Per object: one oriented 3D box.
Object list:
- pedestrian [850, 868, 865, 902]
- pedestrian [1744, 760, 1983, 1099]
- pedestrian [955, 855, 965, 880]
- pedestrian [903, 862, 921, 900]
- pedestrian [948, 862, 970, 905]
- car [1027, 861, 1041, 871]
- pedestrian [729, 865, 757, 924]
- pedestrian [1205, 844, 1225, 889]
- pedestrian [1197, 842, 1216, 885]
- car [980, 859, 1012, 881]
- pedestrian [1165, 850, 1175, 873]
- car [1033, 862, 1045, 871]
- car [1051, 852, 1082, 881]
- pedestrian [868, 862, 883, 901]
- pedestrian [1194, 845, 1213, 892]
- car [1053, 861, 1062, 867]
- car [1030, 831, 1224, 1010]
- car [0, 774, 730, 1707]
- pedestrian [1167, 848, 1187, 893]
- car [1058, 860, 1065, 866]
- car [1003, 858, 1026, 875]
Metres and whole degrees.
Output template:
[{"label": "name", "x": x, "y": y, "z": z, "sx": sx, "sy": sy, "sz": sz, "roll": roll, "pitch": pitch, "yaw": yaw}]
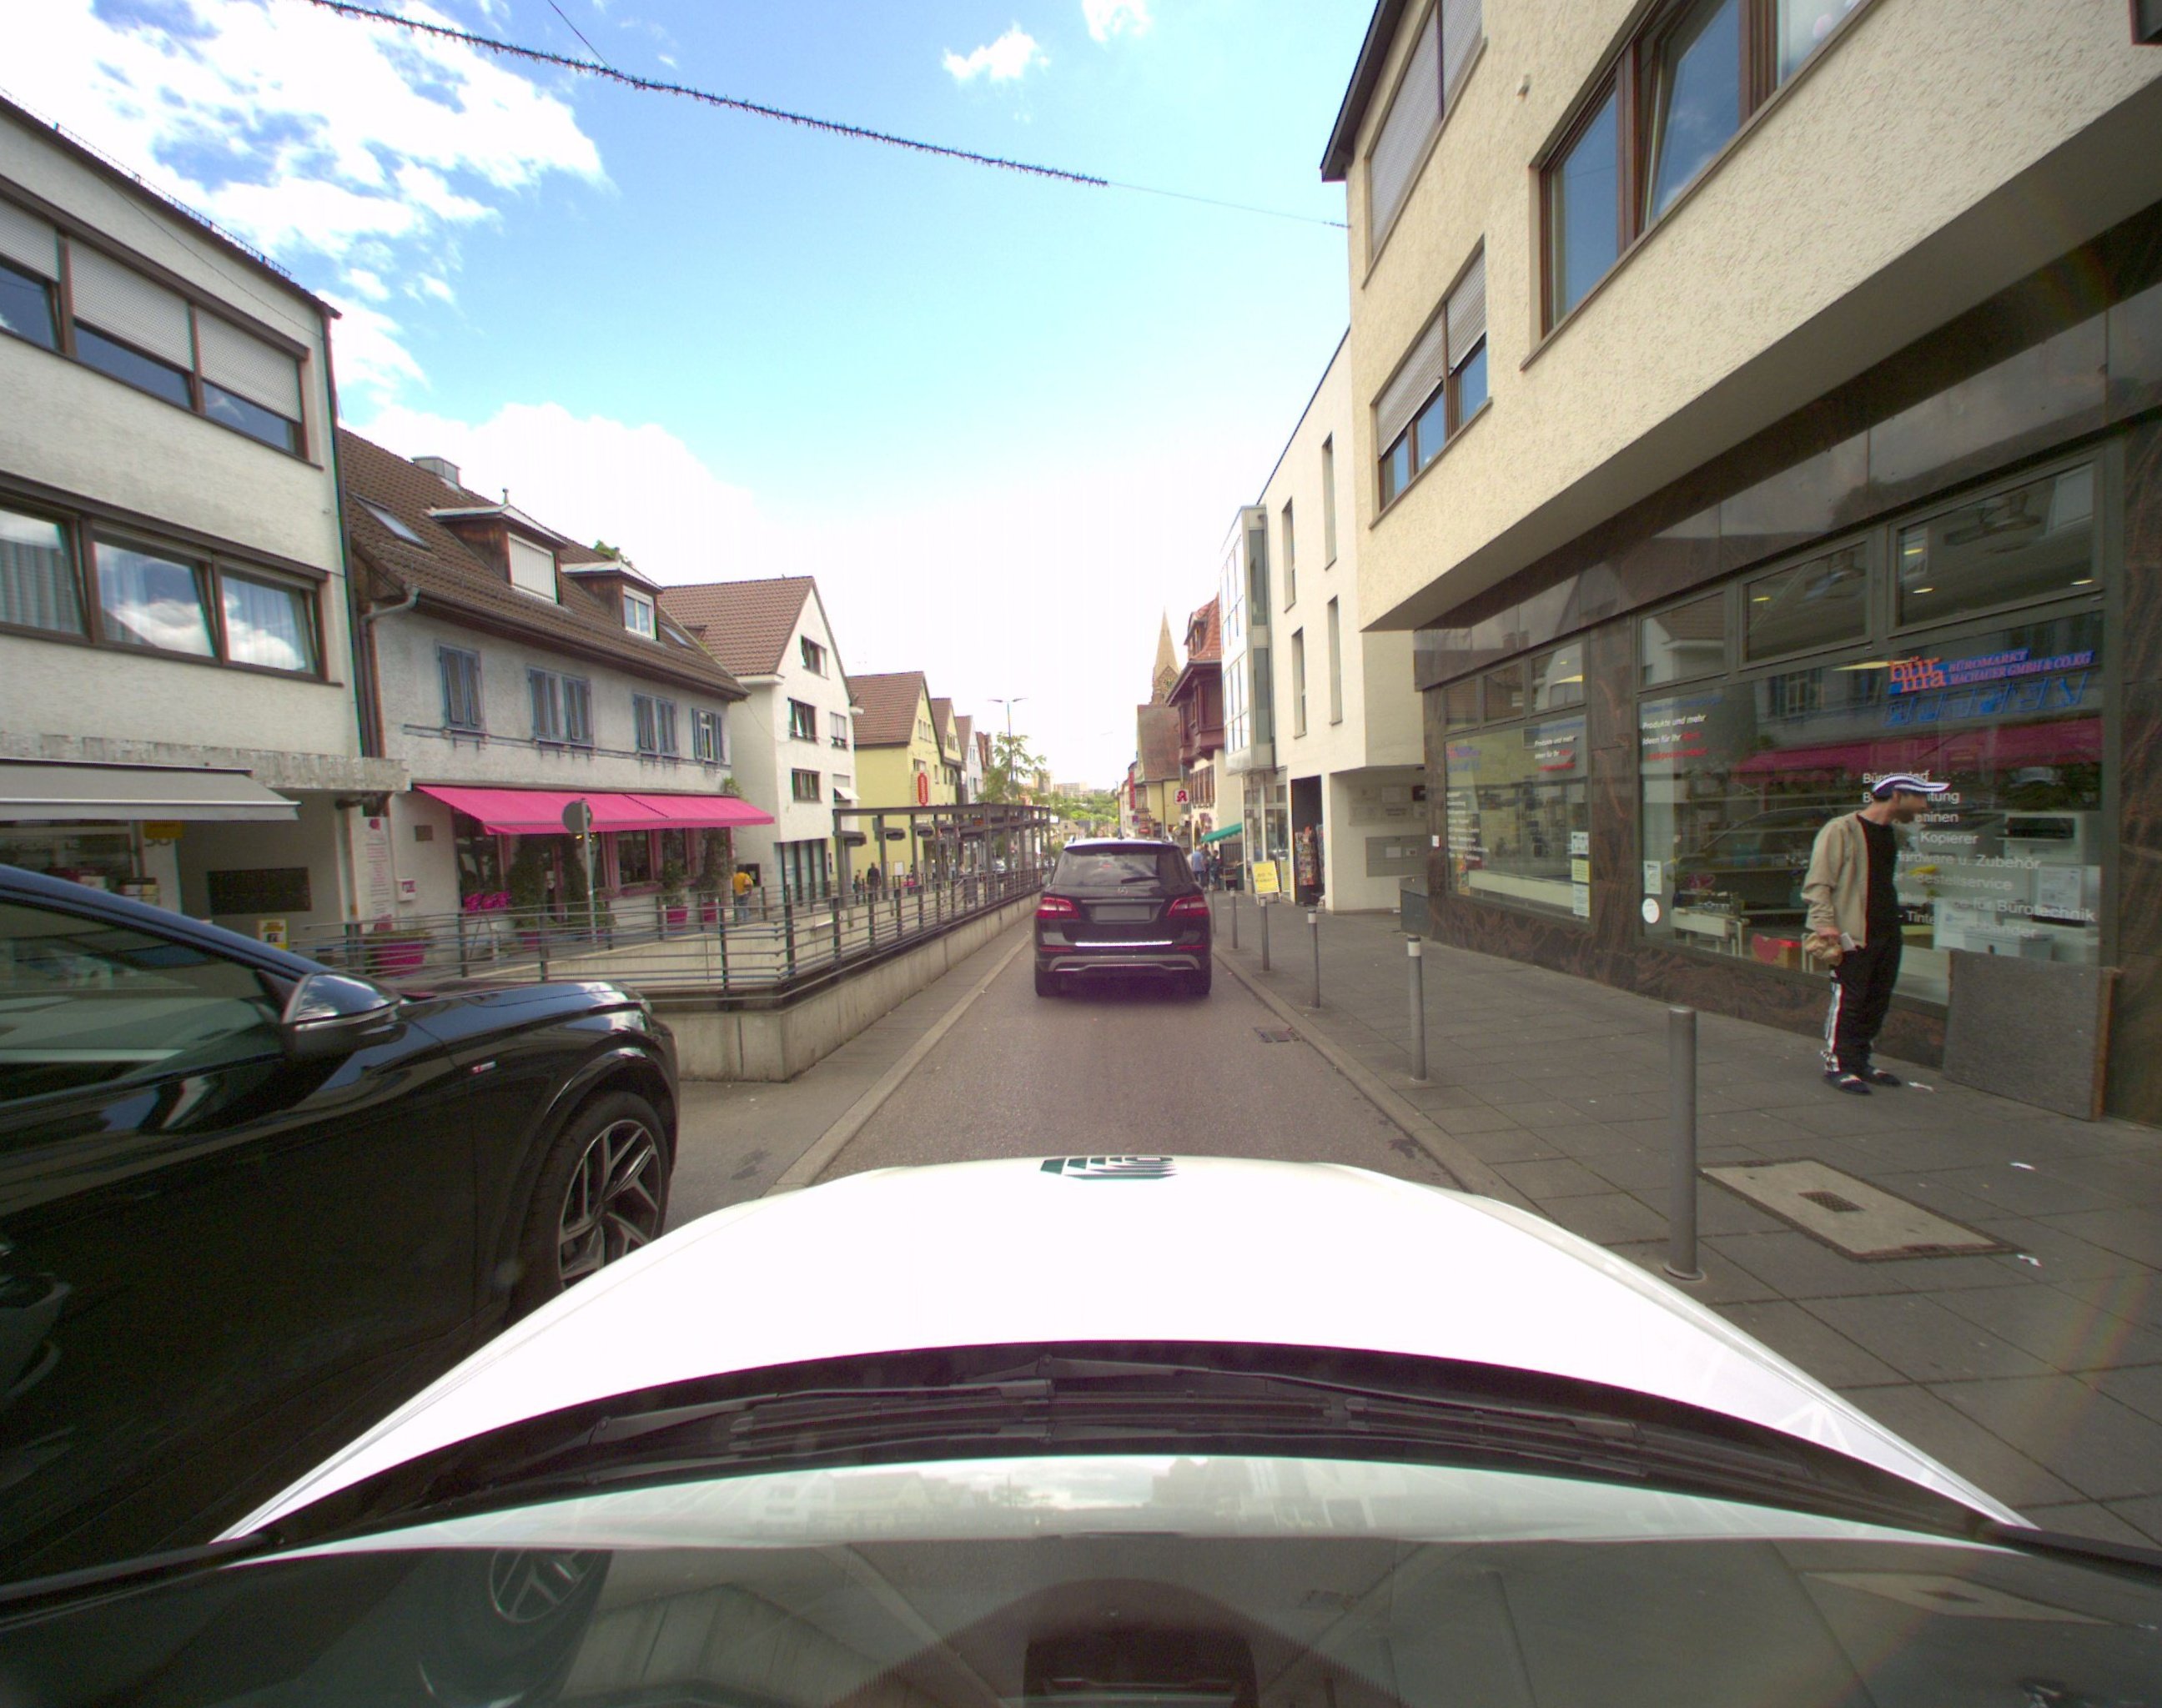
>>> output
[{"label": "pedestrian", "x": -9.711, "y": 1.336, "z": 35.336, "sx": 0.454, "sy": 1.421, "sz": 0.534, "roll": -1, "pitch": 0, "yaw": 4}, {"label": "pedestrian", "x": 4.269, "y": 0.386, "z": 4.480, "sx": 0.662, "sy": 1.689, "sz": 0.542, "roll": -6, "pitch": 0, "yaw": -5}, {"label": "pedestrian", "x": -8.088, "y": 0.914, "z": 54.427, "sx": 0.511, "sy": 1.689, "sz": 0.541, "roll": 0, "pitch": 0, "yaw": 1}, {"label": "pedestrian", "x": -7.535, "y": 1.200, "z": 36.282, "sx": 0.623, "sy": 1.689, "sz": 0.679, "roll": 0, "pitch": 0, "yaw": 1}, {"label": "pedestrian", "x": -4.871, "y": 1.168, "z": 32.602, "sx": 0.767, "sy": 1.689, "sz": 0.723, "roll": 0, "pitch": 0, "yaw": -17}, {"label": "car", "x": -5.554, "y": 1.421, "z": 96.870, "sx": 1.383, "sy": 1.070, "sz": 3.114, "roll": -3, "pitch": 0, "yaw": 2}, {"label": "pedestrian", "x": -9.776, "y": 1.165, "z": 23.564, "sx": 0.576, "sy": 1.689, "sz": 0.577, "roll": 0, "pitch": 0, "yaw": 1}, {"label": "pedestrian", "x": 5.186, "y": 0.492, "z": 31.494, "sx": 0.572, "sy": 1.689, "sz": 0.565, "roll": -3, "pitch": 0, "yaw": -5}, {"label": "pedestrian", "x": 5.000, "y": 0.382, "z": 32.445, "sx": 0.572, "sy": 1.689, "sz": 0.565, "roll": -3, "pitch": 0, "yaw": -5}, {"label": "car", "x": -5.914, "y": 1.091, "z": 57.037, "sx": 1.683, "sy": 1.490, "sz": 3.980, "roll": 0, "pitch": 0, "yaw": 2}, {"label": "pedestrian", "x": 6.497, "y": 0.534, "z": 59.655, "sx": 0.604, "sy": 1.688, "sz": 0.724, "roll": -3, "pitch": 0, "yaw": 1}, {"label": "car", "x": -5.563, "y": 1.700, "z": 108.246, "sx": 1.383, "sy": 1.070, "sz": 3.114, "roll": -3, "pitch": 0, "yaw": 2}, {"label": "car", "x": -0.863, "y": 0.757, "z": 51.492, "sx": 1.764, "sy": 1.713, "sz": 4.001, "roll": 0, "pitch": 0, "yaw": 1}, {"label": "pedestrian", "x": -9.128, "y": 1.206, "z": 36.175, "sx": 0.612, "sy": 1.689, "sz": 0.560, "roll": 0, "pitch": 0, "yaw": -13}, {"label": "pedestrian", "x": 4.530, "y": 0.537, "z": 30.136, "sx": 0.541, "sy": 1.726, "sz": 0.527, "roll": -3, "pitch": 0, "yaw": -5}, {"label": "car", "x": -4.150, "y": 1.777, "z": 143.283, "sx": 1.383, "sy": 1.070, "sz": 3.114, "roll": -3, "pitch": 0, "yaw": 2}, {"label": "car", "x": 0.450, "y": 0.657, "z": 10.025, "sx": 1.894, "sy": 1.747, "sz": 3.999, "roll": 0, "pitch": 0, "yaw": 0}, {"label": "car", "x": -2.414, "y": 0.724, "z": 1.118, "sx": 1.950, "sy": 1.639, "sz": 4.314, "roll": -1, "pitch": 0, "yaw": 0}, {"label": "pedestrian", "x": 3.600, "y": 0.619, "z": 30.635, "sx": 0.620, "sy": 1.689, "sz": 0.565, "roll": 0, "pitch": 0, "yaw": -5}, {"label": "car", "x": -4.060, "y": 1.938, "z": 170.568, "sx": 1.383, "sy": 1.070, "sz": 3.114, "roll": -3, "pitch": 0, "yaw": 2}, {"label": "car", "x": -6.018, "y": 1.103, "z": 74.220, "sx": 1.654, "sy": 1.490, "sz": 3.749, "roll": 0, "pitch": 0, "yaw": 2}]
